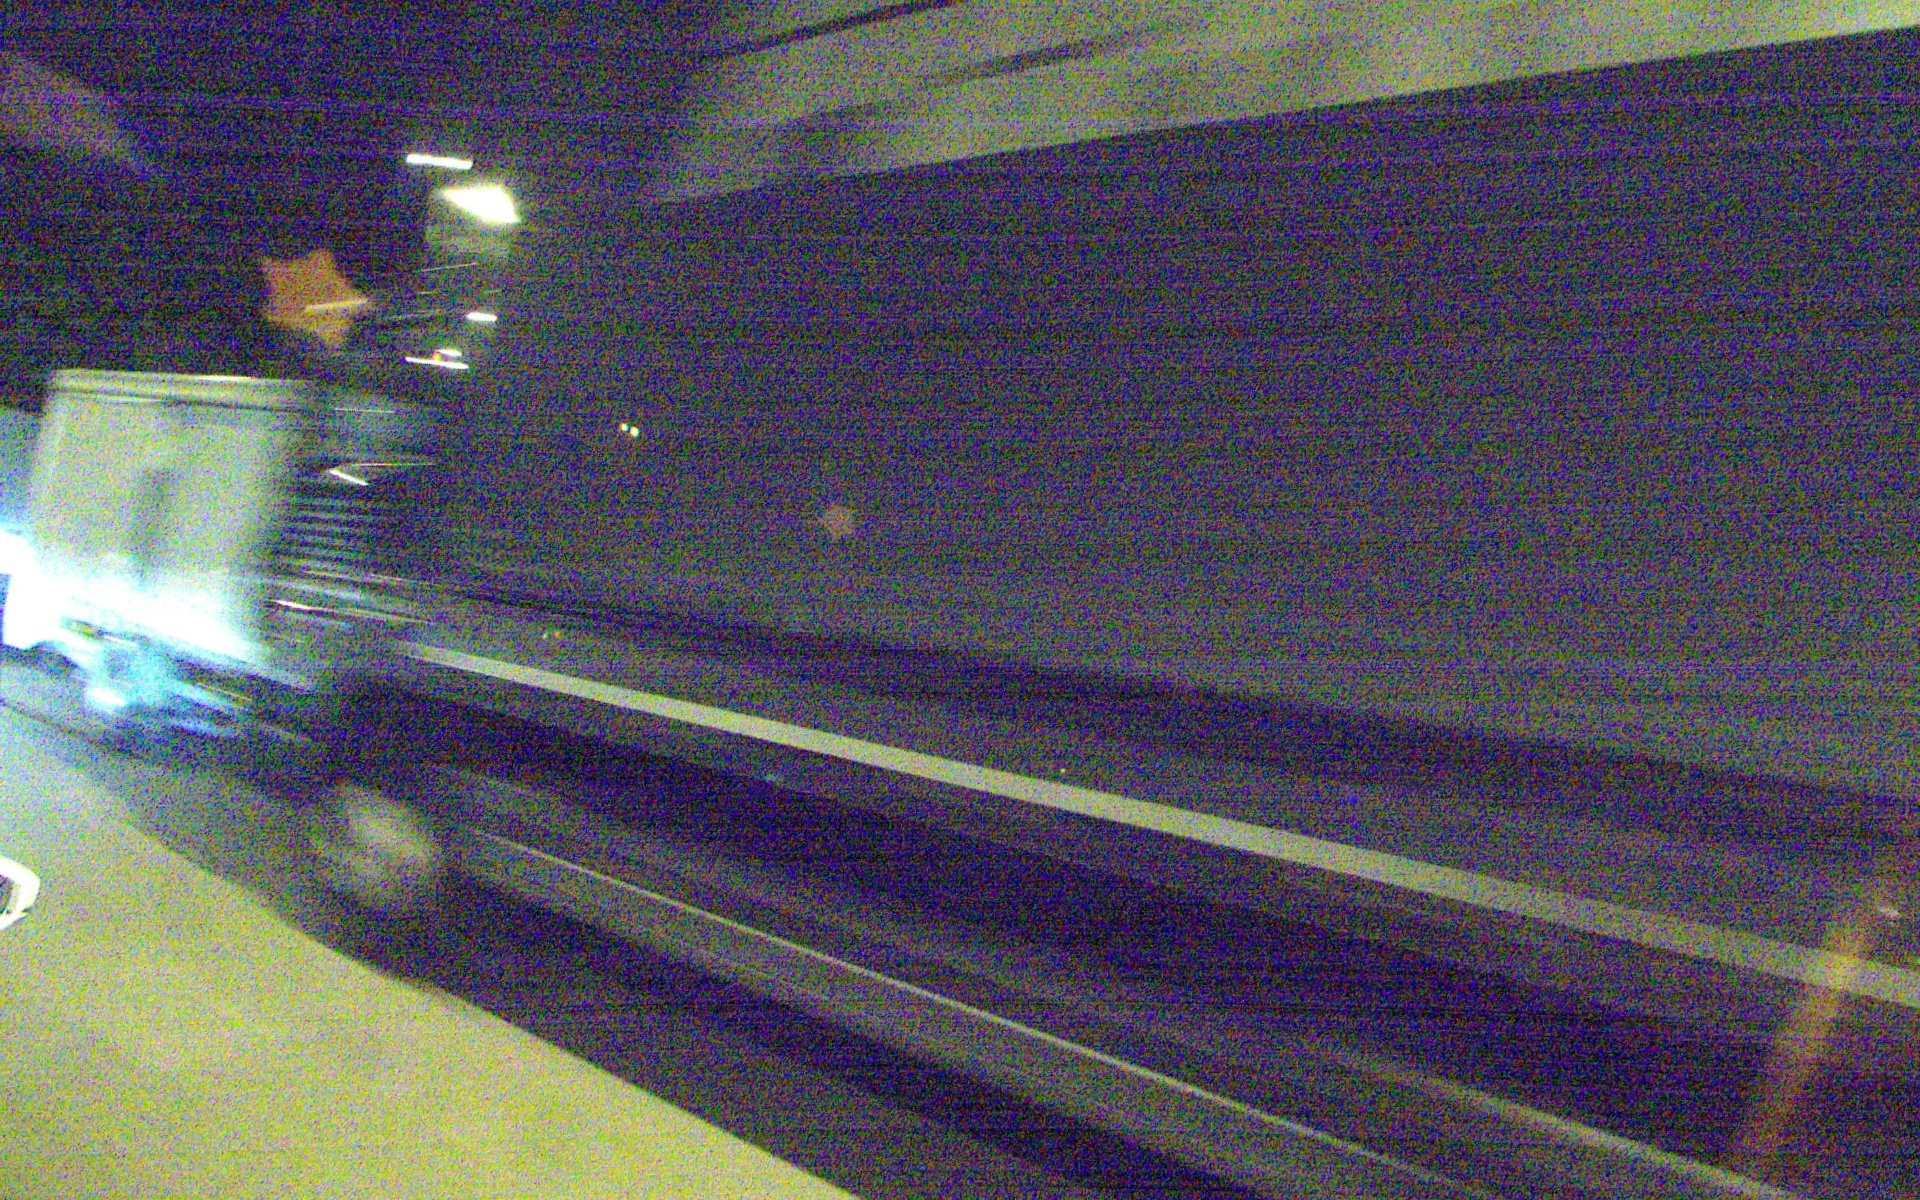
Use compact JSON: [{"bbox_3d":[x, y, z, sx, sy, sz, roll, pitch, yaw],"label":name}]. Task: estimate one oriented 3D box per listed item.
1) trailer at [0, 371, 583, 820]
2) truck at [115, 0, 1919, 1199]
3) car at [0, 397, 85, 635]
[{"bbox_3d":[-5.282,-0.218,7.550,4.943,2.503,1.635,7,0,31],"label":"trailer"},{"bbox_3d":[1.351,-0.204,3.388,9.171,3.915,3.330,7,-1,31],"label":"truck"},{"bbox_3d":[-13.302,-1.286,12.341,6.268,2.546,2.111,7,-1,34],"label":"car"}]
